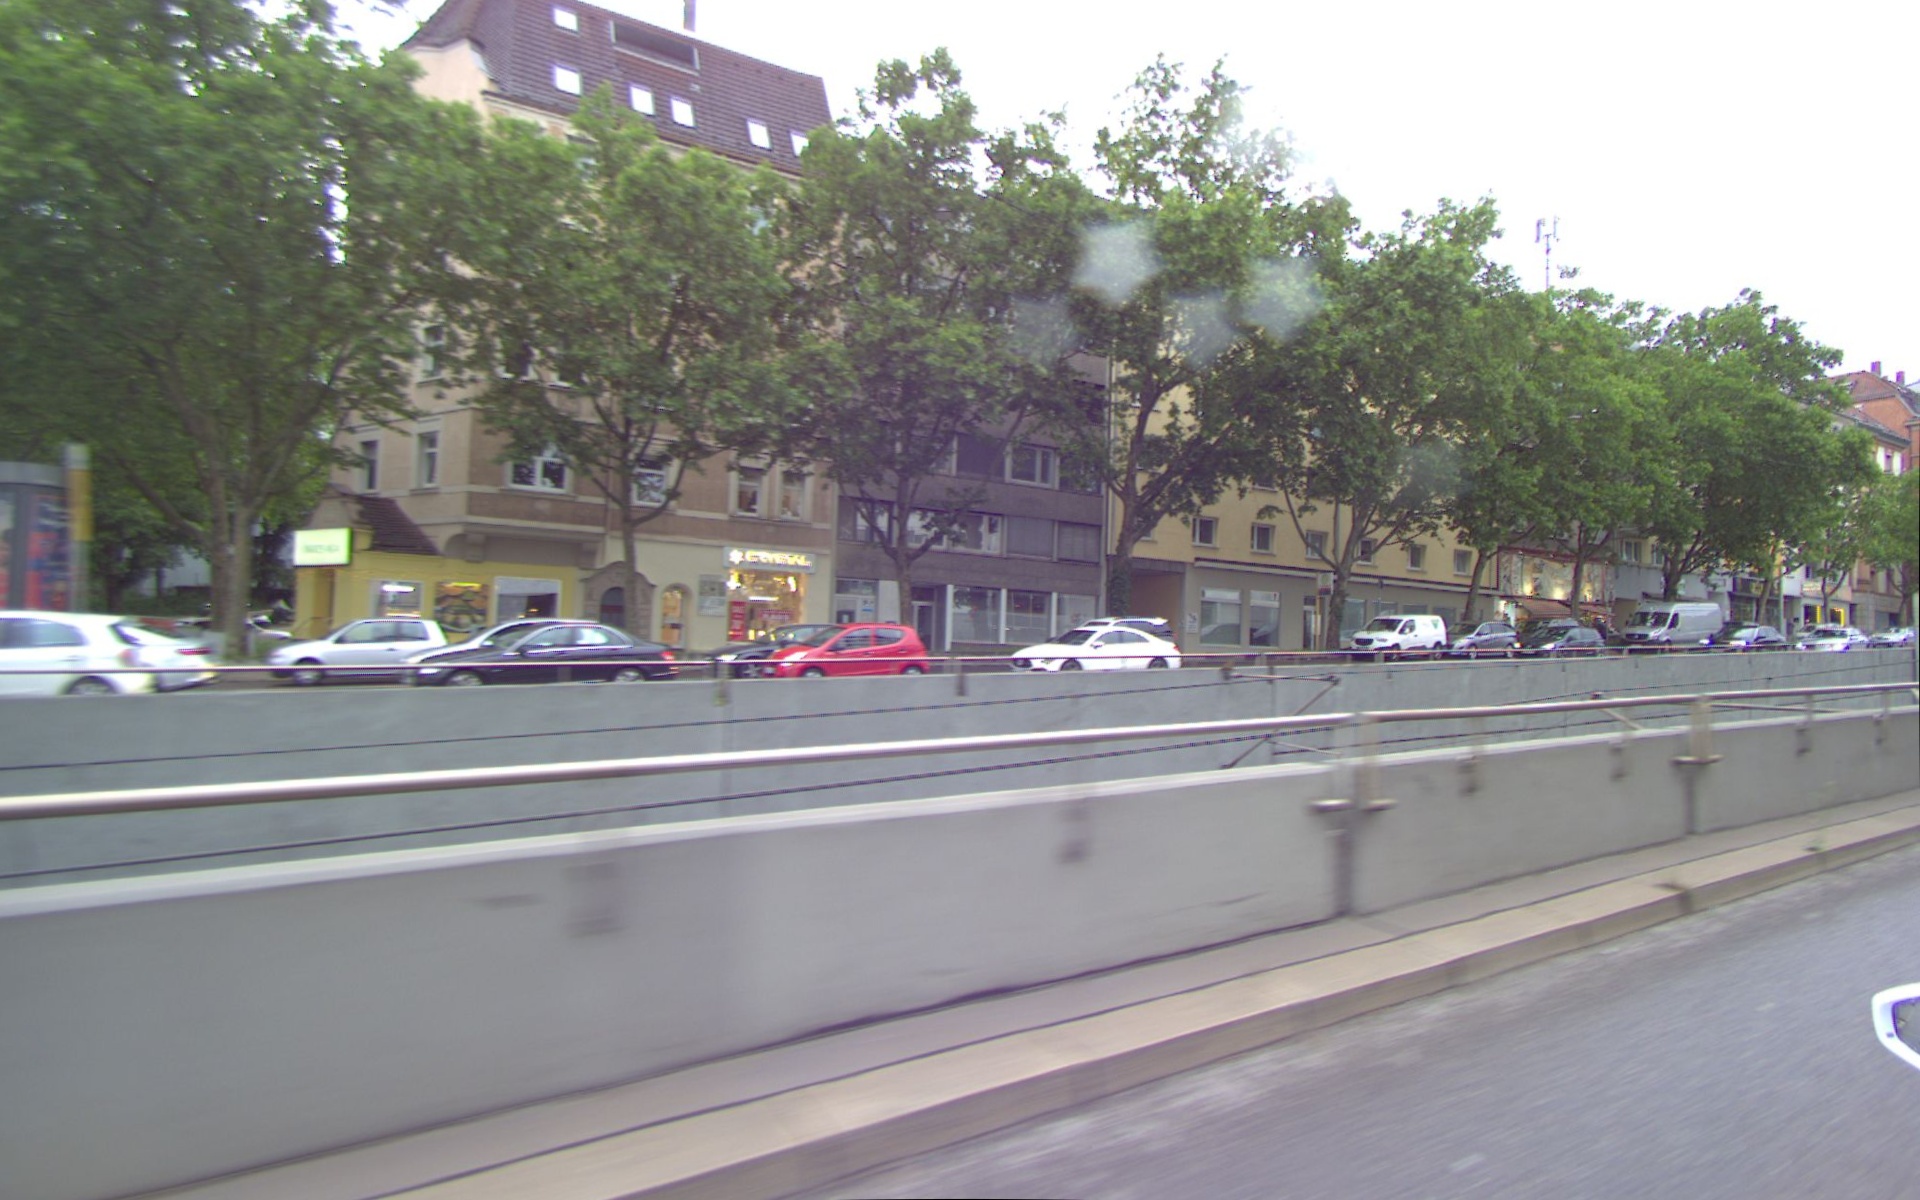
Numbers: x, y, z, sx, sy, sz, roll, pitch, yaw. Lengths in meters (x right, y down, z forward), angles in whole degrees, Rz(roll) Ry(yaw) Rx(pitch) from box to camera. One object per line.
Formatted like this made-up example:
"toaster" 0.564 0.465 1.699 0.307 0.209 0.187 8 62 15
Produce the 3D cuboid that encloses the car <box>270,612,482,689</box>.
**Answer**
"car" -12.903 1.104 22.303 3.902 1.530 1.783 2 -1 -34

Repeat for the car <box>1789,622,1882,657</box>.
"car" 40.829 1.819 46.827 4.763 1.530 1.838 1 0 -30

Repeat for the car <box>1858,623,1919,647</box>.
"car" 60.292 2.252 65.211 4.157 1.530 1.786 1 0 -30

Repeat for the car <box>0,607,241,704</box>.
"car" -14.833 0.919 17.159 3.954 1.530 1.785 2 -2 -31

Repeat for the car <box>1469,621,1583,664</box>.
"car" 22.137 1.645 39.297 4.001 1.571 1.693 1 0 -21

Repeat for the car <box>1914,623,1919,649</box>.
"car" 59.221 2.164 60.158 3.966 1.530 1.839 1 0 -28

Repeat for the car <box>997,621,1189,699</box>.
"car" 3.384 1.489 25.240 4.675 1.793 1.786 2 -2 -30

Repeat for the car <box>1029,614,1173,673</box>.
"car" 4.164 1.245 29.566 3.969 1.601 1.786 1 0 -30

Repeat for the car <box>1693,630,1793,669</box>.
"car" 32.316 2.049 41.447 4.293 1.530 1.786 2 -2 -30

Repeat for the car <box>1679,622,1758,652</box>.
"car" 41.108 1.963 54.405 4.617 1.530 1.786 1 0 -30

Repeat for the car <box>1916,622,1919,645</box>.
"car" 68.615 2.330 69.760 5.138 1.622 1.917 1 0 -31

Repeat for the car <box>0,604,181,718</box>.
"car" -13.872 0.846 14.514 3.959 1.582 1.783 2 -2 -34

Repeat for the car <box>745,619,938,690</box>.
"car" -2.533 1.163 21.708 3.837 1.419 1.576 2 -2 -31

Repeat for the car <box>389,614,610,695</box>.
"car" -9.583 1.110 20.987 3.959 1.530 1.783 2 -2 -34

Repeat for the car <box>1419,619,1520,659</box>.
"car" 21.965 1.641 43.280 4.422 1.604 1.867 1 0 -32

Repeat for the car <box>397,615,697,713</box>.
"car" -7.446 1.119 18.332 4.786 1.578 1.783 2 -2 -34

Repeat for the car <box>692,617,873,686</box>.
"car" -4.275 1.229 24.383 3.959 1.530 1.783 2 -2 -34

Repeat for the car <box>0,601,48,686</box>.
"car" -19.203 0.765 17.978 3.959 1.530 1.783 2 -3 -34

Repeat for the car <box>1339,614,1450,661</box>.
"car" 17.735 1.493 40.940 4.850 1.788 1.865 1 0 -34

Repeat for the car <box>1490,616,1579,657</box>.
"car" 25.963 1.631 45.356 4.160 1.752 1.784 1 0 -33

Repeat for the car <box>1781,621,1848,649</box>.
"car" 51.222 2.077 60.198 4.157 1.592 1.786 1 0 -30

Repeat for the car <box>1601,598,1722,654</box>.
"car" 35.946 1.320 51.440 6.850 2.698 2.441 1 0 -30
